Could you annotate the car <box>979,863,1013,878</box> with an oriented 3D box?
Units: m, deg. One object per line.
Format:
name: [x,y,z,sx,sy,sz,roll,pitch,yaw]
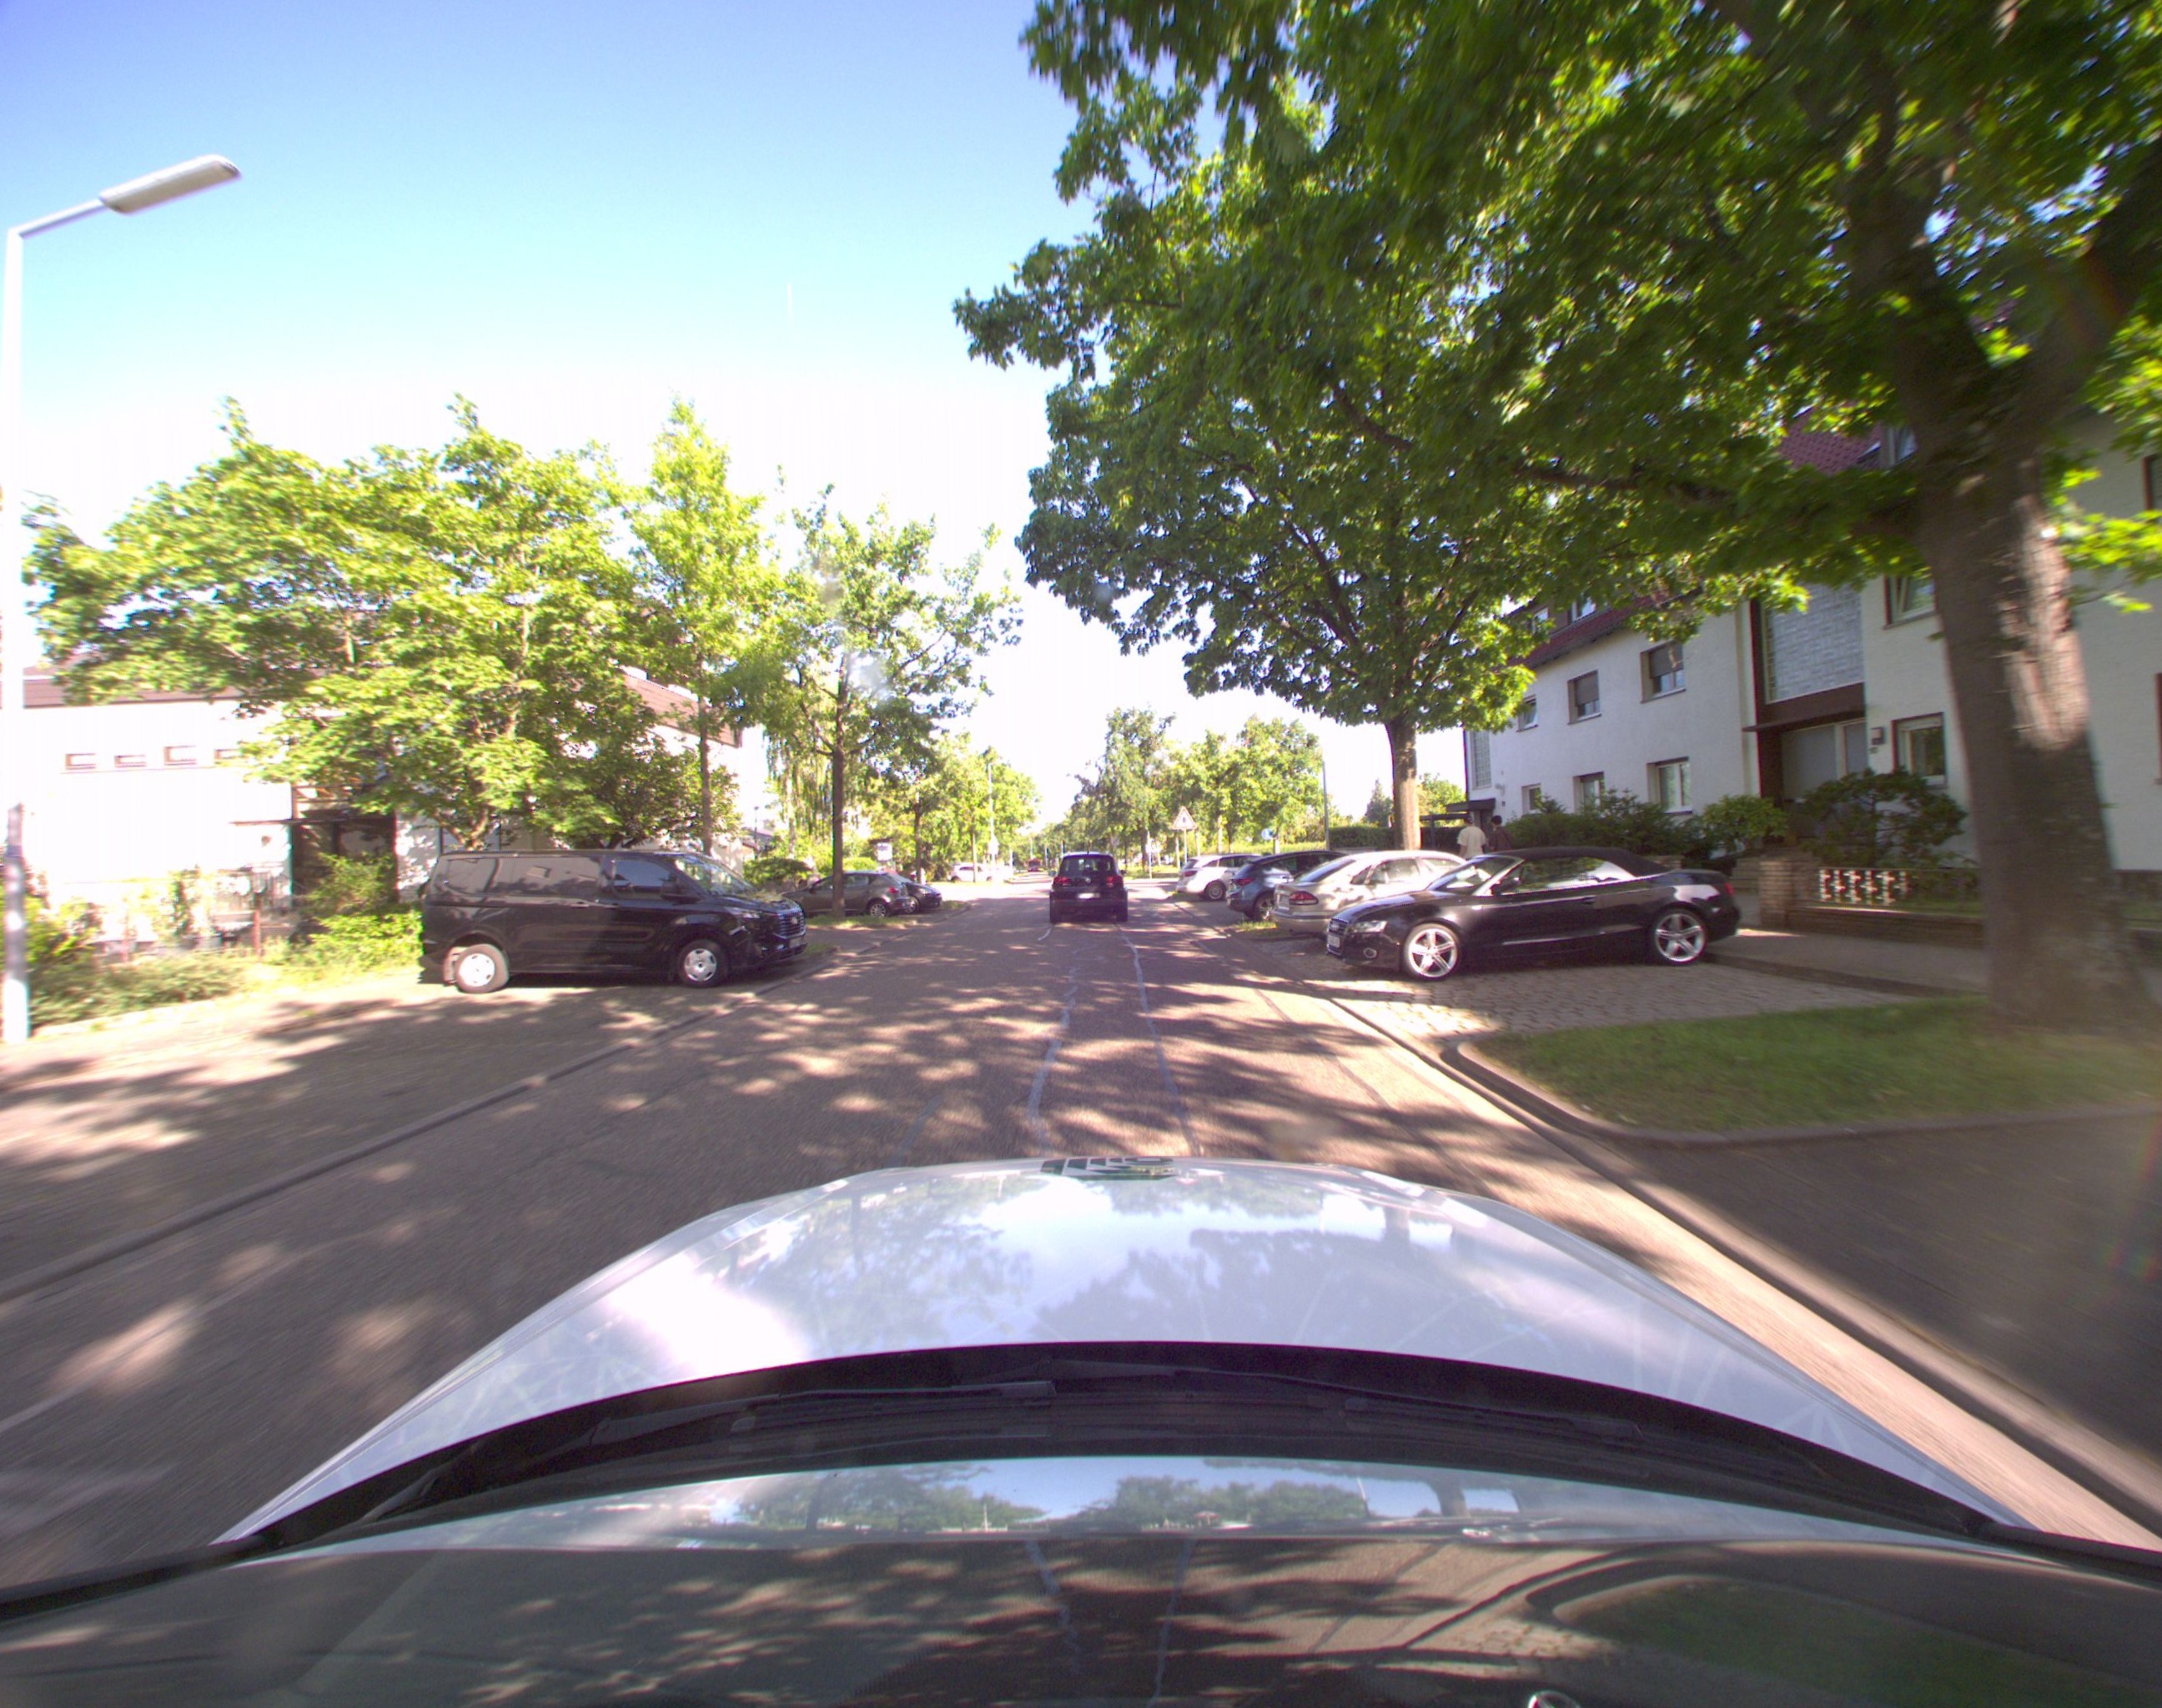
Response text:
car: [-10.604,2.033,101.963,4.007,1.647,1.809,-2,0,-3]

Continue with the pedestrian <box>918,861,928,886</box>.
pedestrian: [-10.214,1.275,52.638,0.439,1.557,0.801,-2,0,1]

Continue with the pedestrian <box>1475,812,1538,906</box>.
pedestrian: [8.635,0.104,16.557,0.831,1.828,0.711,-3,-1,3]

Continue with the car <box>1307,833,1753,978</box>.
car: [5.191,0.586,9.904,4.330,1.363,1.874,-3,-1,1]

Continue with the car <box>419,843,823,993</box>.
car: [-6.570,0.868,12.067,4.763,1.917,2.018,-1,0,0]

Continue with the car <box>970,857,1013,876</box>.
car: [-8.899,1.229,81.303,4.007,1.647,1.809,-3,0,-3]

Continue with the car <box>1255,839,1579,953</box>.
car: [5.043,0.613,12.674,4.260,1.414,1.797,-3,0,2]

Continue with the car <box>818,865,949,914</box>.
car: [-6.462,1.142,26.969,3.842,1.459,1.714,-1,0,2]

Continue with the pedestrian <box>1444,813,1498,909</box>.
pedestrian: [7.923,0.138,16.574,0.605,1.873,0.925,-3,-1,4]

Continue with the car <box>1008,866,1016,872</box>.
car: [-18.154,4.001,215.590,1.848,1.693,3.952,-3,-1,-2]

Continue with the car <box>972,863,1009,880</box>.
car: [-10.175,1.973,91.661,4.006,1.647,1.809,-2,-1,-3]

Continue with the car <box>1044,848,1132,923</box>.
car: [0.283,0.718,20.352,1.829,1.636,3.963,-2,0,5]

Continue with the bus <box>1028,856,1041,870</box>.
bus: [-10.862,2.138,190.604,2.921,3.004,5.732,-3,-1,-2]

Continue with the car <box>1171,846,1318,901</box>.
car: [5.219,0.615,26.413,4.411,1.491,1.797,-3,0,2]

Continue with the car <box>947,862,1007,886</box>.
car: [-7.731,1.494,60.825,4.232,1.623,1.895,-2,-1,-3]

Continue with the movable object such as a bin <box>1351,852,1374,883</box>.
movable object such as a bin: [9.788,0.477,28.334,0.532,1.045,0.700,-3,0,0]

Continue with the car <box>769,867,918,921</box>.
car: [-6.921,1.148,23.992,3.806,1.419,1.772,-1,0,0]

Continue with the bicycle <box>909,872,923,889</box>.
bicycle: [-10.650,1.680,52.605,0.445,1.039,1.892,-3,-1,1]

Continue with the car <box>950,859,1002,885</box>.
car: [-8.500,1.434,66.159,4.006,1.839,1.895,-3,0,-3]

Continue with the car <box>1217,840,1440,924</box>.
car: [5.223,0.580,17.637,4.260,1.503,1.797,-3,0,2]

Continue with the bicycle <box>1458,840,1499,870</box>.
bicycle: [15.254,0.043,31.256,1.679,1.054,0.527,-3,0,-31]
